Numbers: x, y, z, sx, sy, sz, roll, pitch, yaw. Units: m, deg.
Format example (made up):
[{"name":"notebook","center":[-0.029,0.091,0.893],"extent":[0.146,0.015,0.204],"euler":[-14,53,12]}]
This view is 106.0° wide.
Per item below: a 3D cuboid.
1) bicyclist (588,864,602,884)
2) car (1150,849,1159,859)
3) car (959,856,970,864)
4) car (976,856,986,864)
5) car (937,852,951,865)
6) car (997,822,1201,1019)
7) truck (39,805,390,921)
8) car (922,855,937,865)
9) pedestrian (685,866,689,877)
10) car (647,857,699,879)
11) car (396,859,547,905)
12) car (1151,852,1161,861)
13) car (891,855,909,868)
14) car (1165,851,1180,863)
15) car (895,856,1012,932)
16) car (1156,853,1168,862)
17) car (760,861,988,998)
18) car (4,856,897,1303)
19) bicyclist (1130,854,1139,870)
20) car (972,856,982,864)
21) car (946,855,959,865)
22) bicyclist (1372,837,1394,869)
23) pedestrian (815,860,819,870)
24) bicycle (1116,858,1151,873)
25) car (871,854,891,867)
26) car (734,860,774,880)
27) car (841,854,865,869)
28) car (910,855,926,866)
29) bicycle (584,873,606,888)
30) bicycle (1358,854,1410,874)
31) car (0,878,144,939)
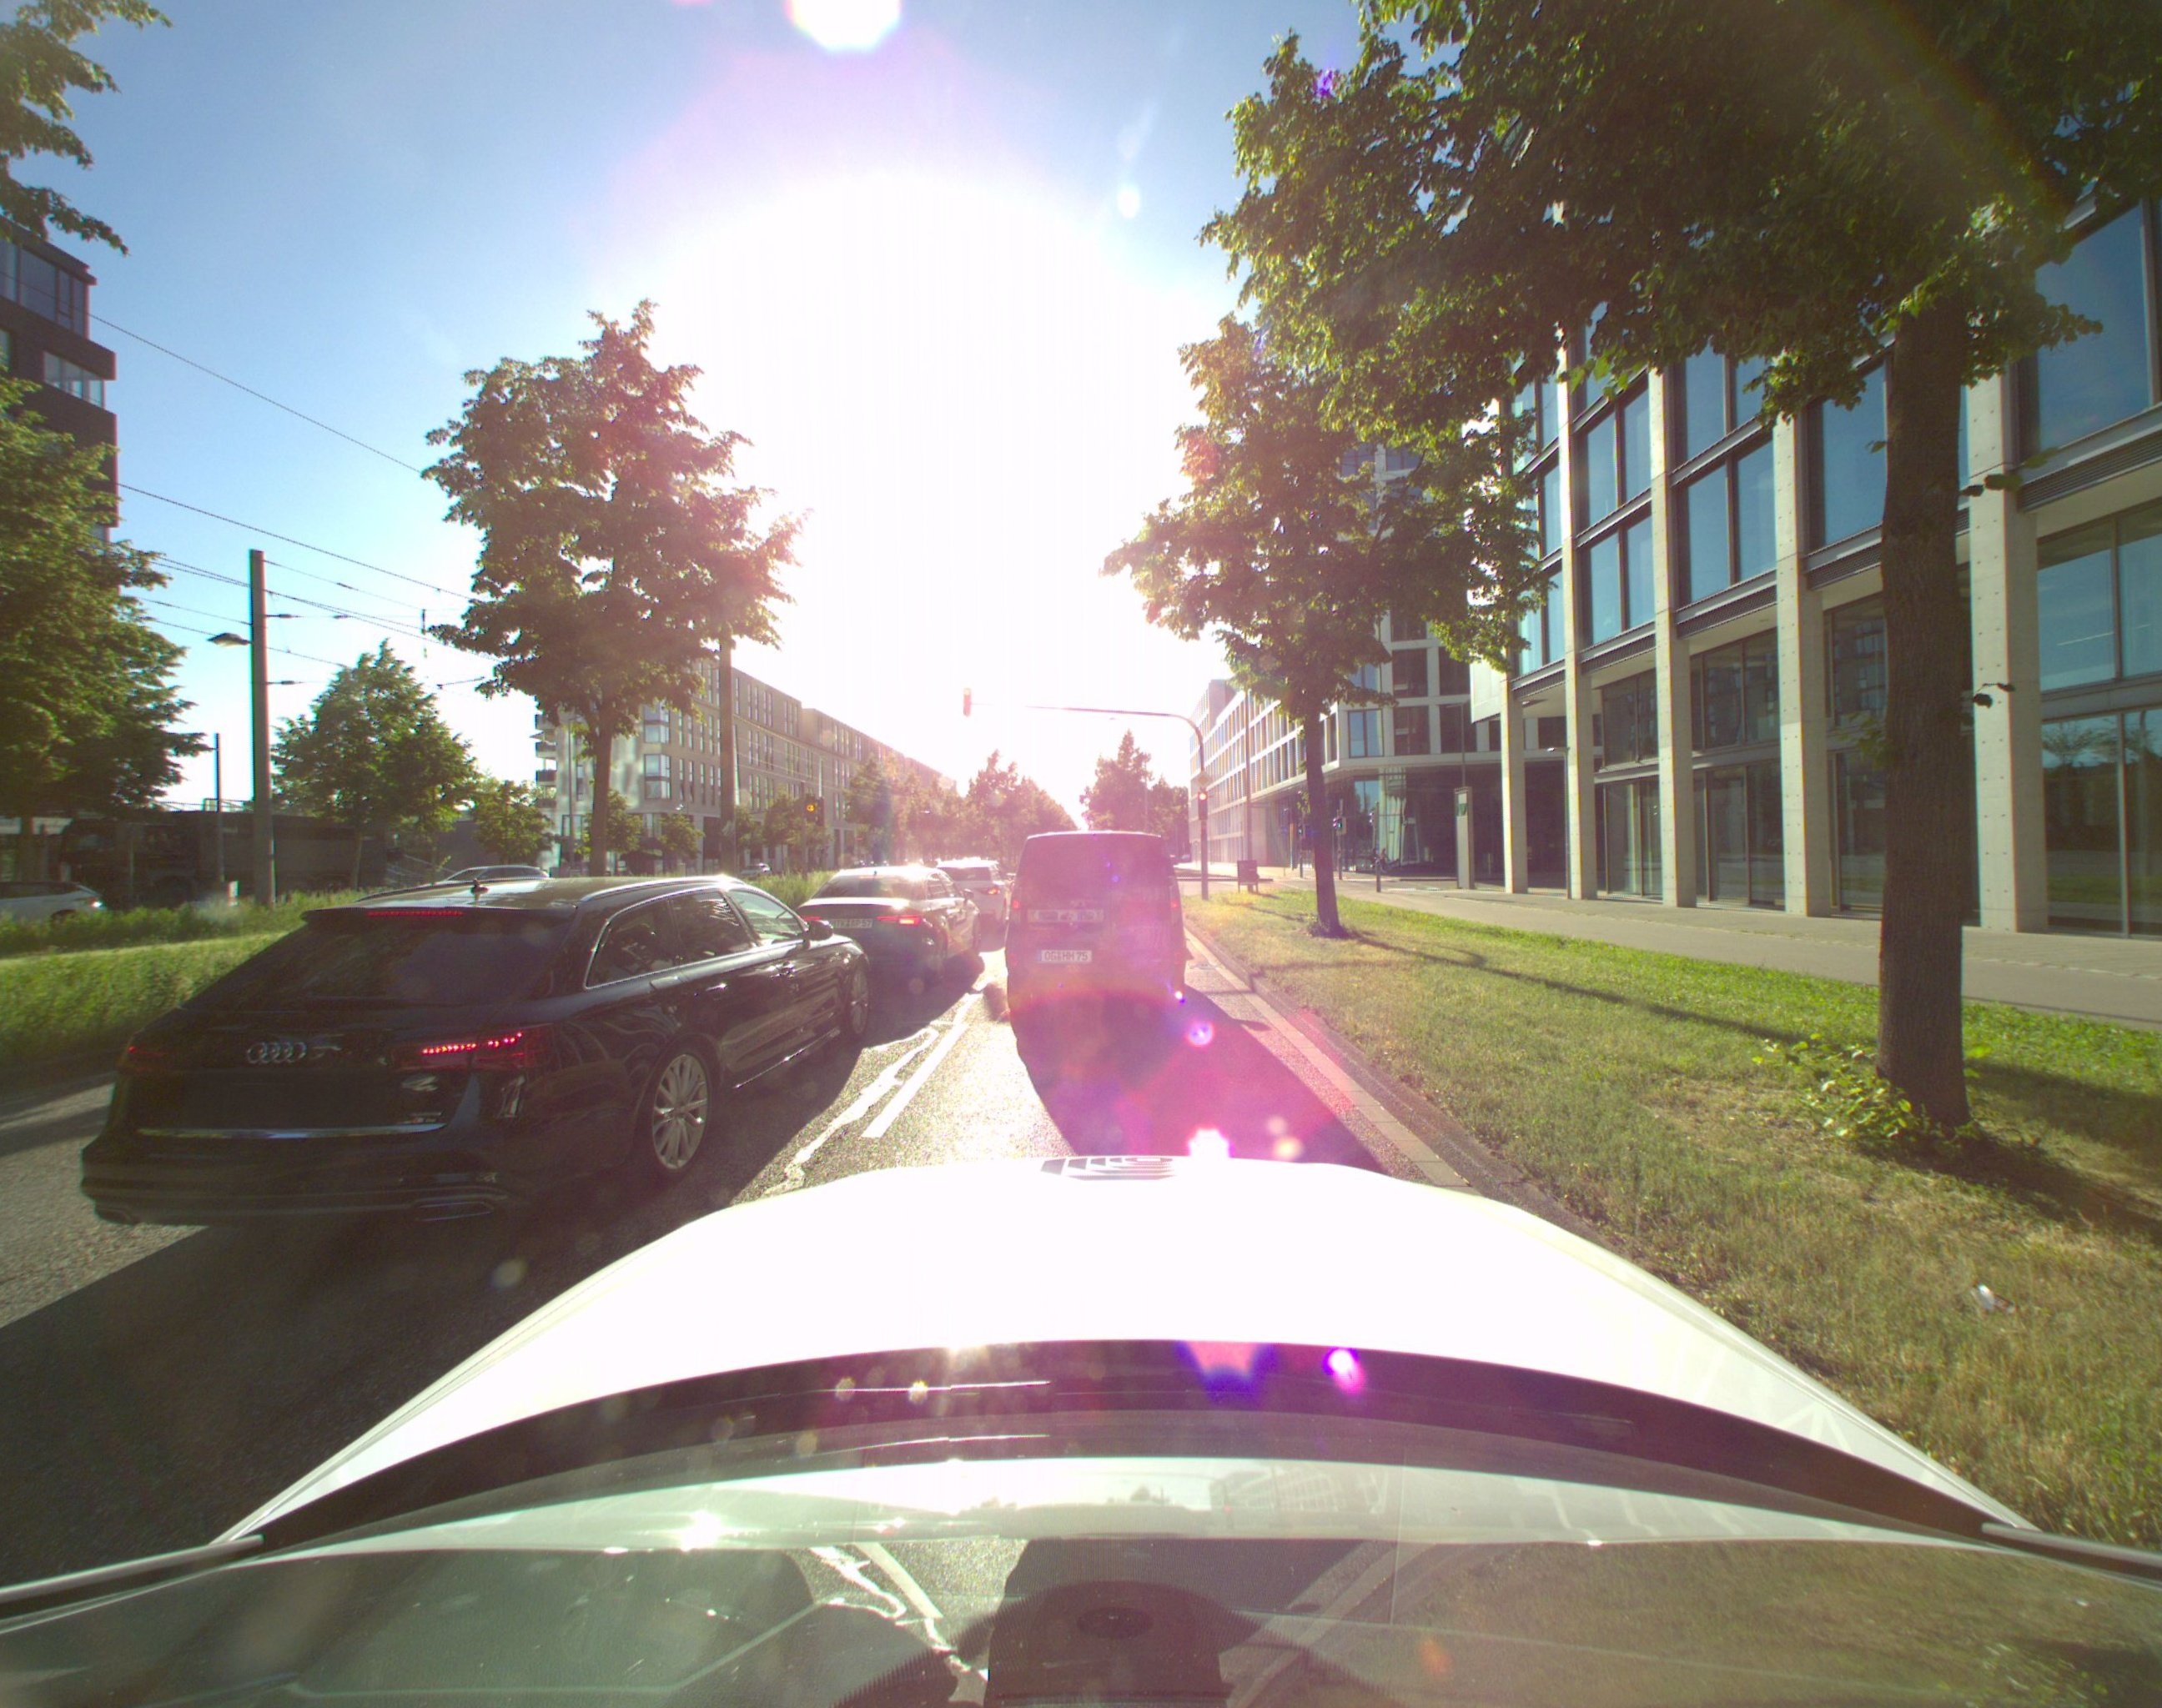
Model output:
[{"name":"bicyclist","center":[-34.824,1.429,58.379],"extent":[0.475,1.424,0.821],"euler":[-1,0,2]},{"name":"car","center":[17.900,0.016,198.168],"extent":[1.986,2.497,4.988],"euler":[-1,0,2]},{"name":"car","center":[-28.601,1.416,200.172],"extent":[1.986,2.013,4.002],"euler":[-1,0,2]},{"name":"car","center":[-27.433,1.561,223.801],"extent":[1.986,2.013,4.002],"euler":[-1,0,2]},{"name":"car","center":[-28.426,0.959,169.278],"extent":[1.986,2.607,4.002],"euler":[-1,0,2]},{"name":"car","center":[0.222,0.607,9.460],"extent":[1.835,1.780,4.002],"euler":[-1,0,2]},{"name":"truck","center":[-33.622,0.290,32.634],"extent":[2.880,3.853,10.217],"euler":[-1,0,2]},{"name":"car","center":[-29.685,1.182,159.369],"extent":[1.986,2.013,4.002],"euler":[-1,0,2]},{"name":"pedestrian","center":[-40.537,1.817,83.759],"extent":[0.253,1.085,0.260],"euler":[-1,0,1]},{"name":"car","center":[-31.037,1.037,62.062],"extent":[1.758,1.520,4.002],"euler":[-1,0,2]},{"name":"car","center":[-22.248,0.975,29.950],"extent":[1.501,1.492,4.238],"euler":[-1,0,22]},{"name":"car","center":[16.516,0.535,179.667],"extent":[1.986,1.782,4.002],"euler":[-1,0,2]},{"name":"car","center":[-30.577,1.270,137.445],"extent":[1.986,2.013,4.002],"euler":[-1,0,2]},{"name":"car","center":[14.334,0.423,127.862],"extent":[1.986,1.782,4.002],"euler":[-1,0,2]},{"name":"car","center":[-2.642,0.783,17.736],"extent":[1.797,1.426,3.902],"euler":[-1,0,2]},{"name":"car","center":[15.974,0.623,160.465],"extent":[1.986,1.782,4.002],"euler":[-1,0,2]},{"name":"car","center":[-2.511,0.842,11.045],"extent":[1.835,1.426,4.340],"euler":[-1,0,2]},{"name":"car","center":[-2.747,0.784,5.303],"extent":[1.868,1.484,4.967],"euler":[-1,0,1]},{"name":"bicyclist","center":[4.347,0.650,66.043],"extent":[0.677,1.275,0.821],"euler":[-1,0,3]},{"name":"car","center":[-27.890,1.523,218.185],"extent":[1.986,2.013,4.002],"euler":[-1,0,2]},{"name":"car","center":[-28.891,1.322,183.353],"extent":[1.986,2.013,4.002],"euler":[-1,0,2]},{"name":"bicyclist","center":[18.494,-0.077,49.884],"extent":[0.989,1.947,0.823],"euler":[-2,0,44]},{"name":"pedestrian","center":[-38.138,1.520,117.555],"extent":[0.465,1.438,0.385],"euler":[-1,0,-32]},{"name":"bicycle","center":[4.267,0.910,66.031],"extent":[2.824,1.114,0.821],"euler":[-1,0,3]},{"name":"car","center":[-30.747,0.983,125.129],"extent":[1.986,2.013,4.002],"euler":[-1,0,2]},{"name":"car","center":[-31.790,1.533,79.233],"extent":[1.986,1.814,4.372],"euler":[-1,0,2]},{"name":"car","center":[-30.873,0.985,110.583],"extent":[1.986,2.013,4.002],"euler":[-1,0,2]},{"name":"car","center":[-30.098,1.127,150.272],"extent":[1.986,2.013,4.002],"euler":[-1,0,2]},{"name":"bicycle","center":[-34.807,1.883,58.356],"extent":[0.475,1.035,1.757],"euler":[-1,0,2]},{"name":"bicycle","center":[18.525,0.639,49.864],"extent":[2.914,1.190,0.823],"euler":[-1,0,44]},{"name":"car","center":[-27.772,1.419,21.026],"extent":[1.781,1.447,4.598],"euler":[-1,0,38]}]
